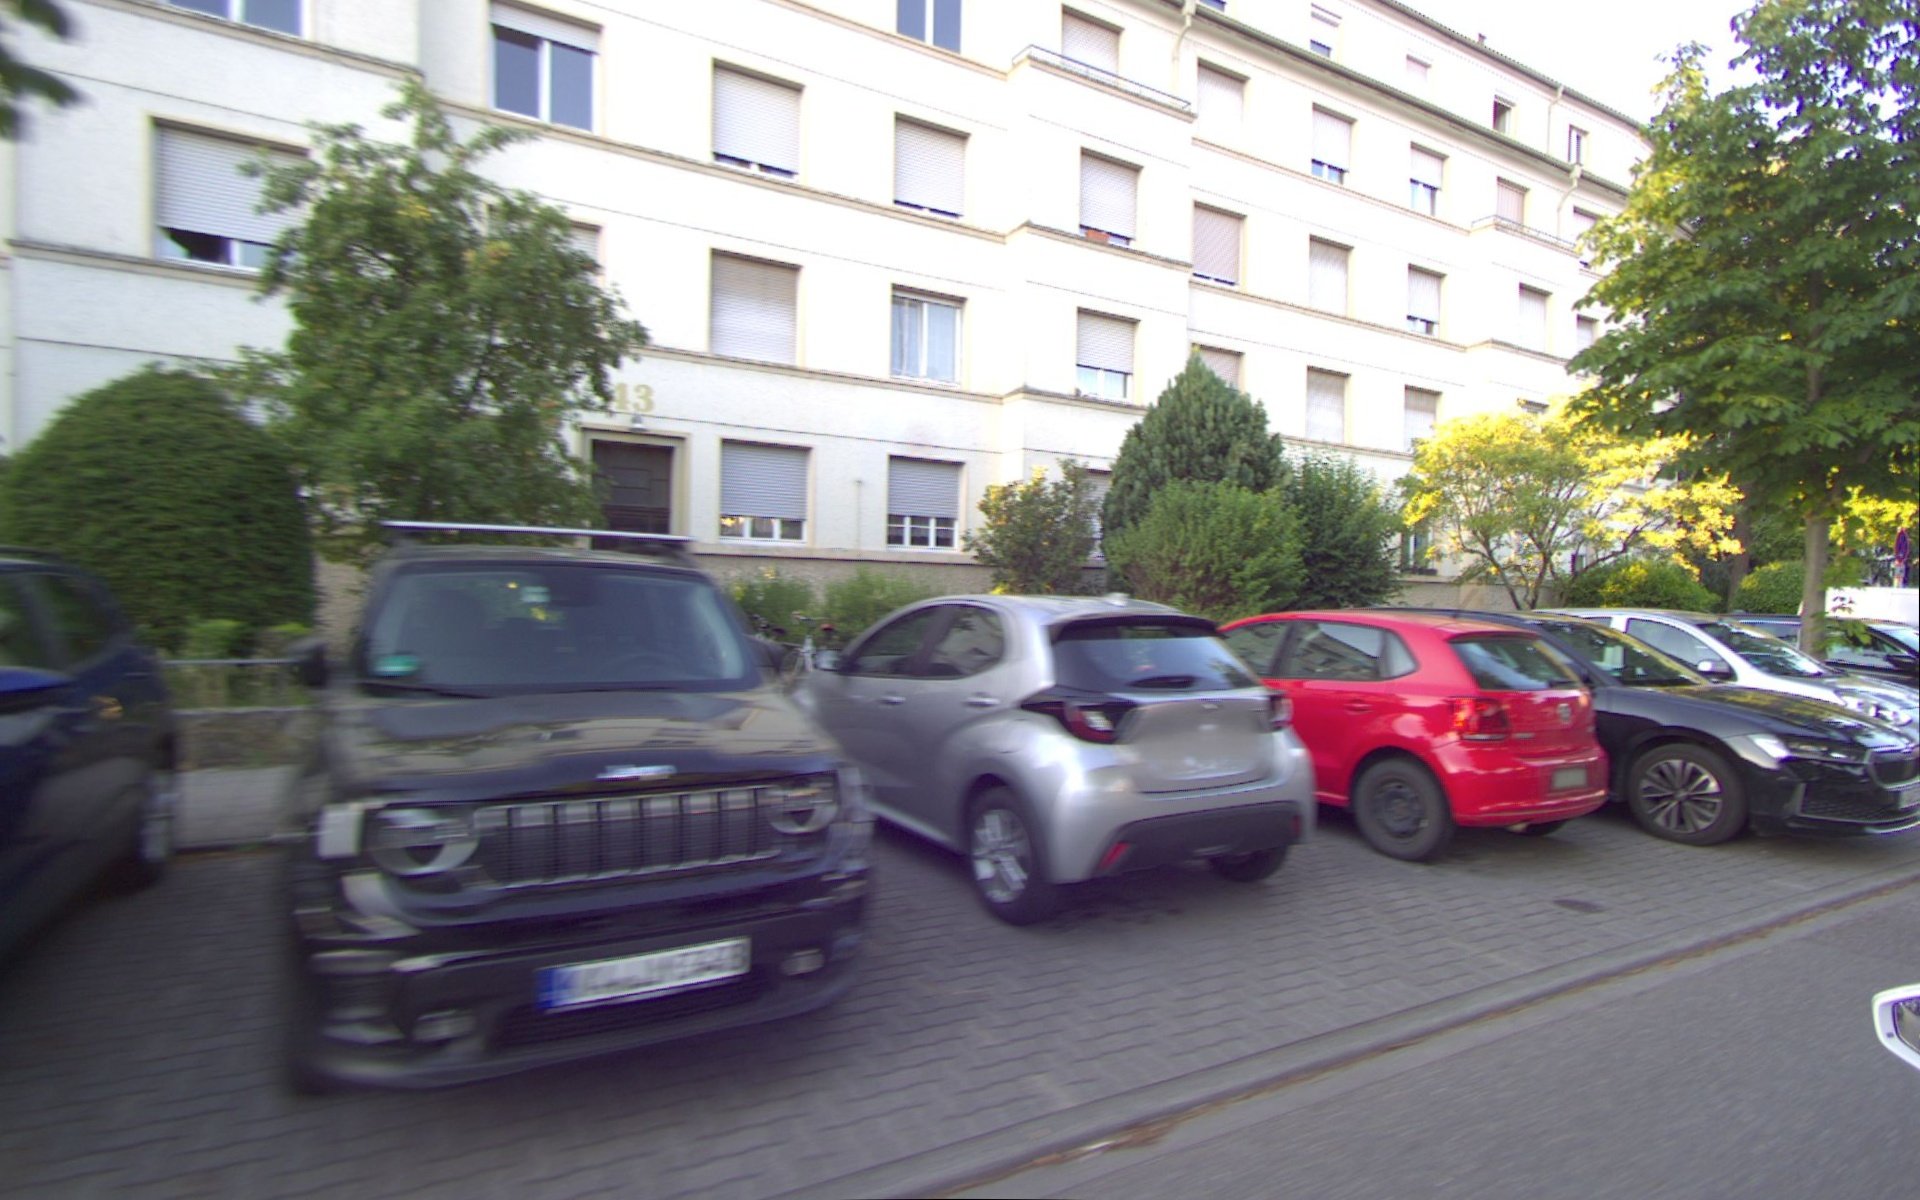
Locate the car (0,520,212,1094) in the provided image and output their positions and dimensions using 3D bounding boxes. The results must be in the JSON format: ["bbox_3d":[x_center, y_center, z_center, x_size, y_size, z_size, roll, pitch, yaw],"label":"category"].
[{"bbox_3d":[-3.822,0.562,3.106,1.762,1.616,3.846,1,1,-27],"label":"car"}]

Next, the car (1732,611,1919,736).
[{"bbox_3d":[12.632,0.951,13.298,1.737,1.503,3.400,1,1,-29],"label":"car"}]

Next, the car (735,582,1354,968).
[{"bbox_3d":[0.153,0.684,6.197,1.770,1.544,3.964,1,1,-33],"label":"car"}]

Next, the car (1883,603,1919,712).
[{"bbox_3d":[17.313,0.983,15.663,1.780,1.776,3.964,0,1,-32],"label":"car"}]

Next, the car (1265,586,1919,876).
[{"bbox_3d":[4.851,0.733,8.105,1.880,1.636,4.378,0,1,-34],"label":"car"}]

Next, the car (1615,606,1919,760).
[{"bbox_3d":[10.623,0.938,11.625,1.859,1.490,4.748,2,1,-30],"label":"car"}]

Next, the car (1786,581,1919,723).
[{"bbox_3d":[15.061,0.771,14.258,1.977,2.041,4.747,1,1,-31],"label":"car"}]

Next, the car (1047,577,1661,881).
[{"bbox_3d":[2.556,0.654,7.435,1.713,1.604,3.962,0,1,-34],"label":"car"}]

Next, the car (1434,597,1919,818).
[{"bbox_3d":[6.904,0.809,9.571,1.783,1.599,3.962,0,1,-34],"label":"car"}]

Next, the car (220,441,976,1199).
[{"bbox_3d":[-1.678,0.546,4.245,1.821,1.801,3.843,1,1,-29],"label":"car"}]
